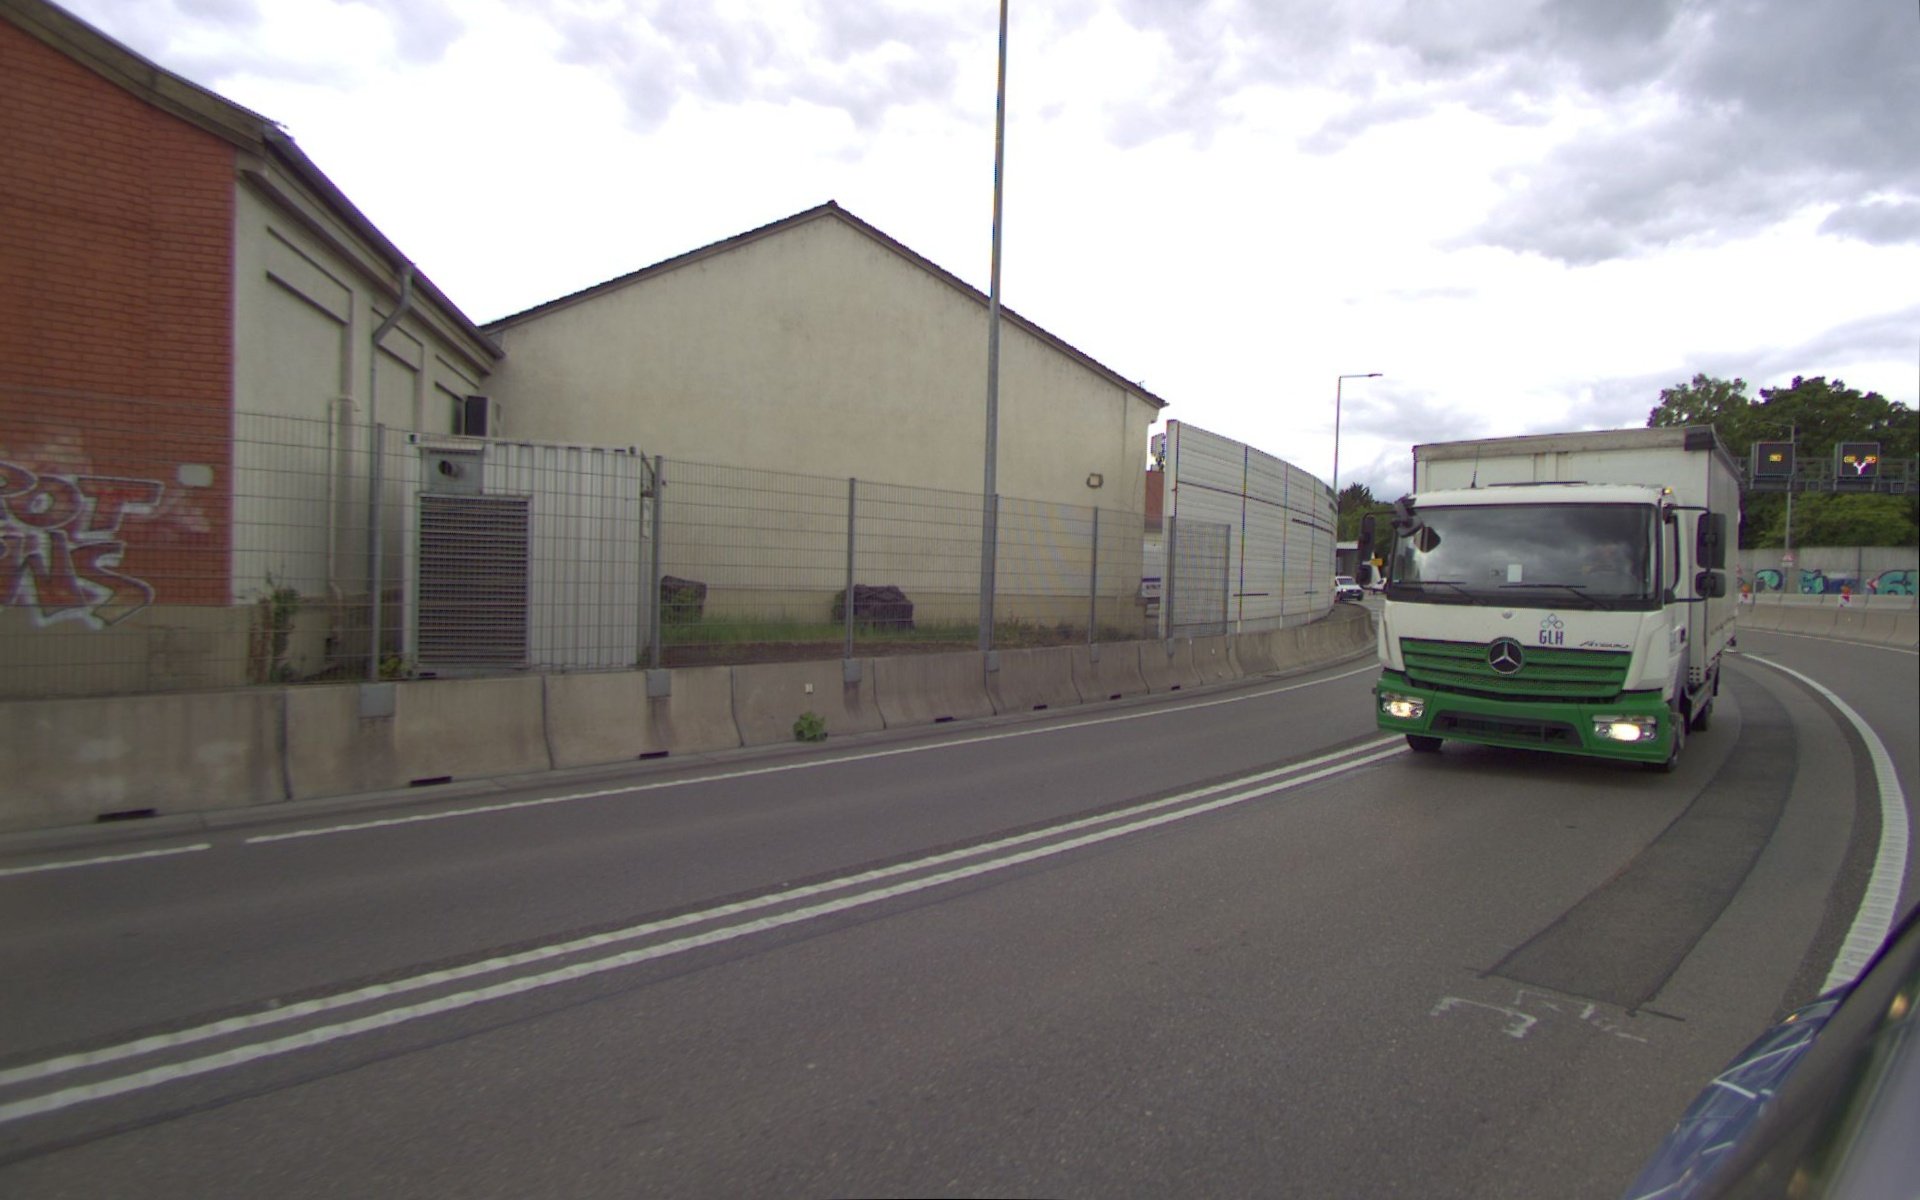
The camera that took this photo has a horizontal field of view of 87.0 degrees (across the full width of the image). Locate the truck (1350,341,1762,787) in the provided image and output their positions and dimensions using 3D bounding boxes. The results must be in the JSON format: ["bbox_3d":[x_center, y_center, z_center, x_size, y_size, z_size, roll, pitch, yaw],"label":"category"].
[{"bbox_3d":[6.923,-0.277,11.096,2.626,3.280,7.307,-1,-1,40],"label":"truck"}]
